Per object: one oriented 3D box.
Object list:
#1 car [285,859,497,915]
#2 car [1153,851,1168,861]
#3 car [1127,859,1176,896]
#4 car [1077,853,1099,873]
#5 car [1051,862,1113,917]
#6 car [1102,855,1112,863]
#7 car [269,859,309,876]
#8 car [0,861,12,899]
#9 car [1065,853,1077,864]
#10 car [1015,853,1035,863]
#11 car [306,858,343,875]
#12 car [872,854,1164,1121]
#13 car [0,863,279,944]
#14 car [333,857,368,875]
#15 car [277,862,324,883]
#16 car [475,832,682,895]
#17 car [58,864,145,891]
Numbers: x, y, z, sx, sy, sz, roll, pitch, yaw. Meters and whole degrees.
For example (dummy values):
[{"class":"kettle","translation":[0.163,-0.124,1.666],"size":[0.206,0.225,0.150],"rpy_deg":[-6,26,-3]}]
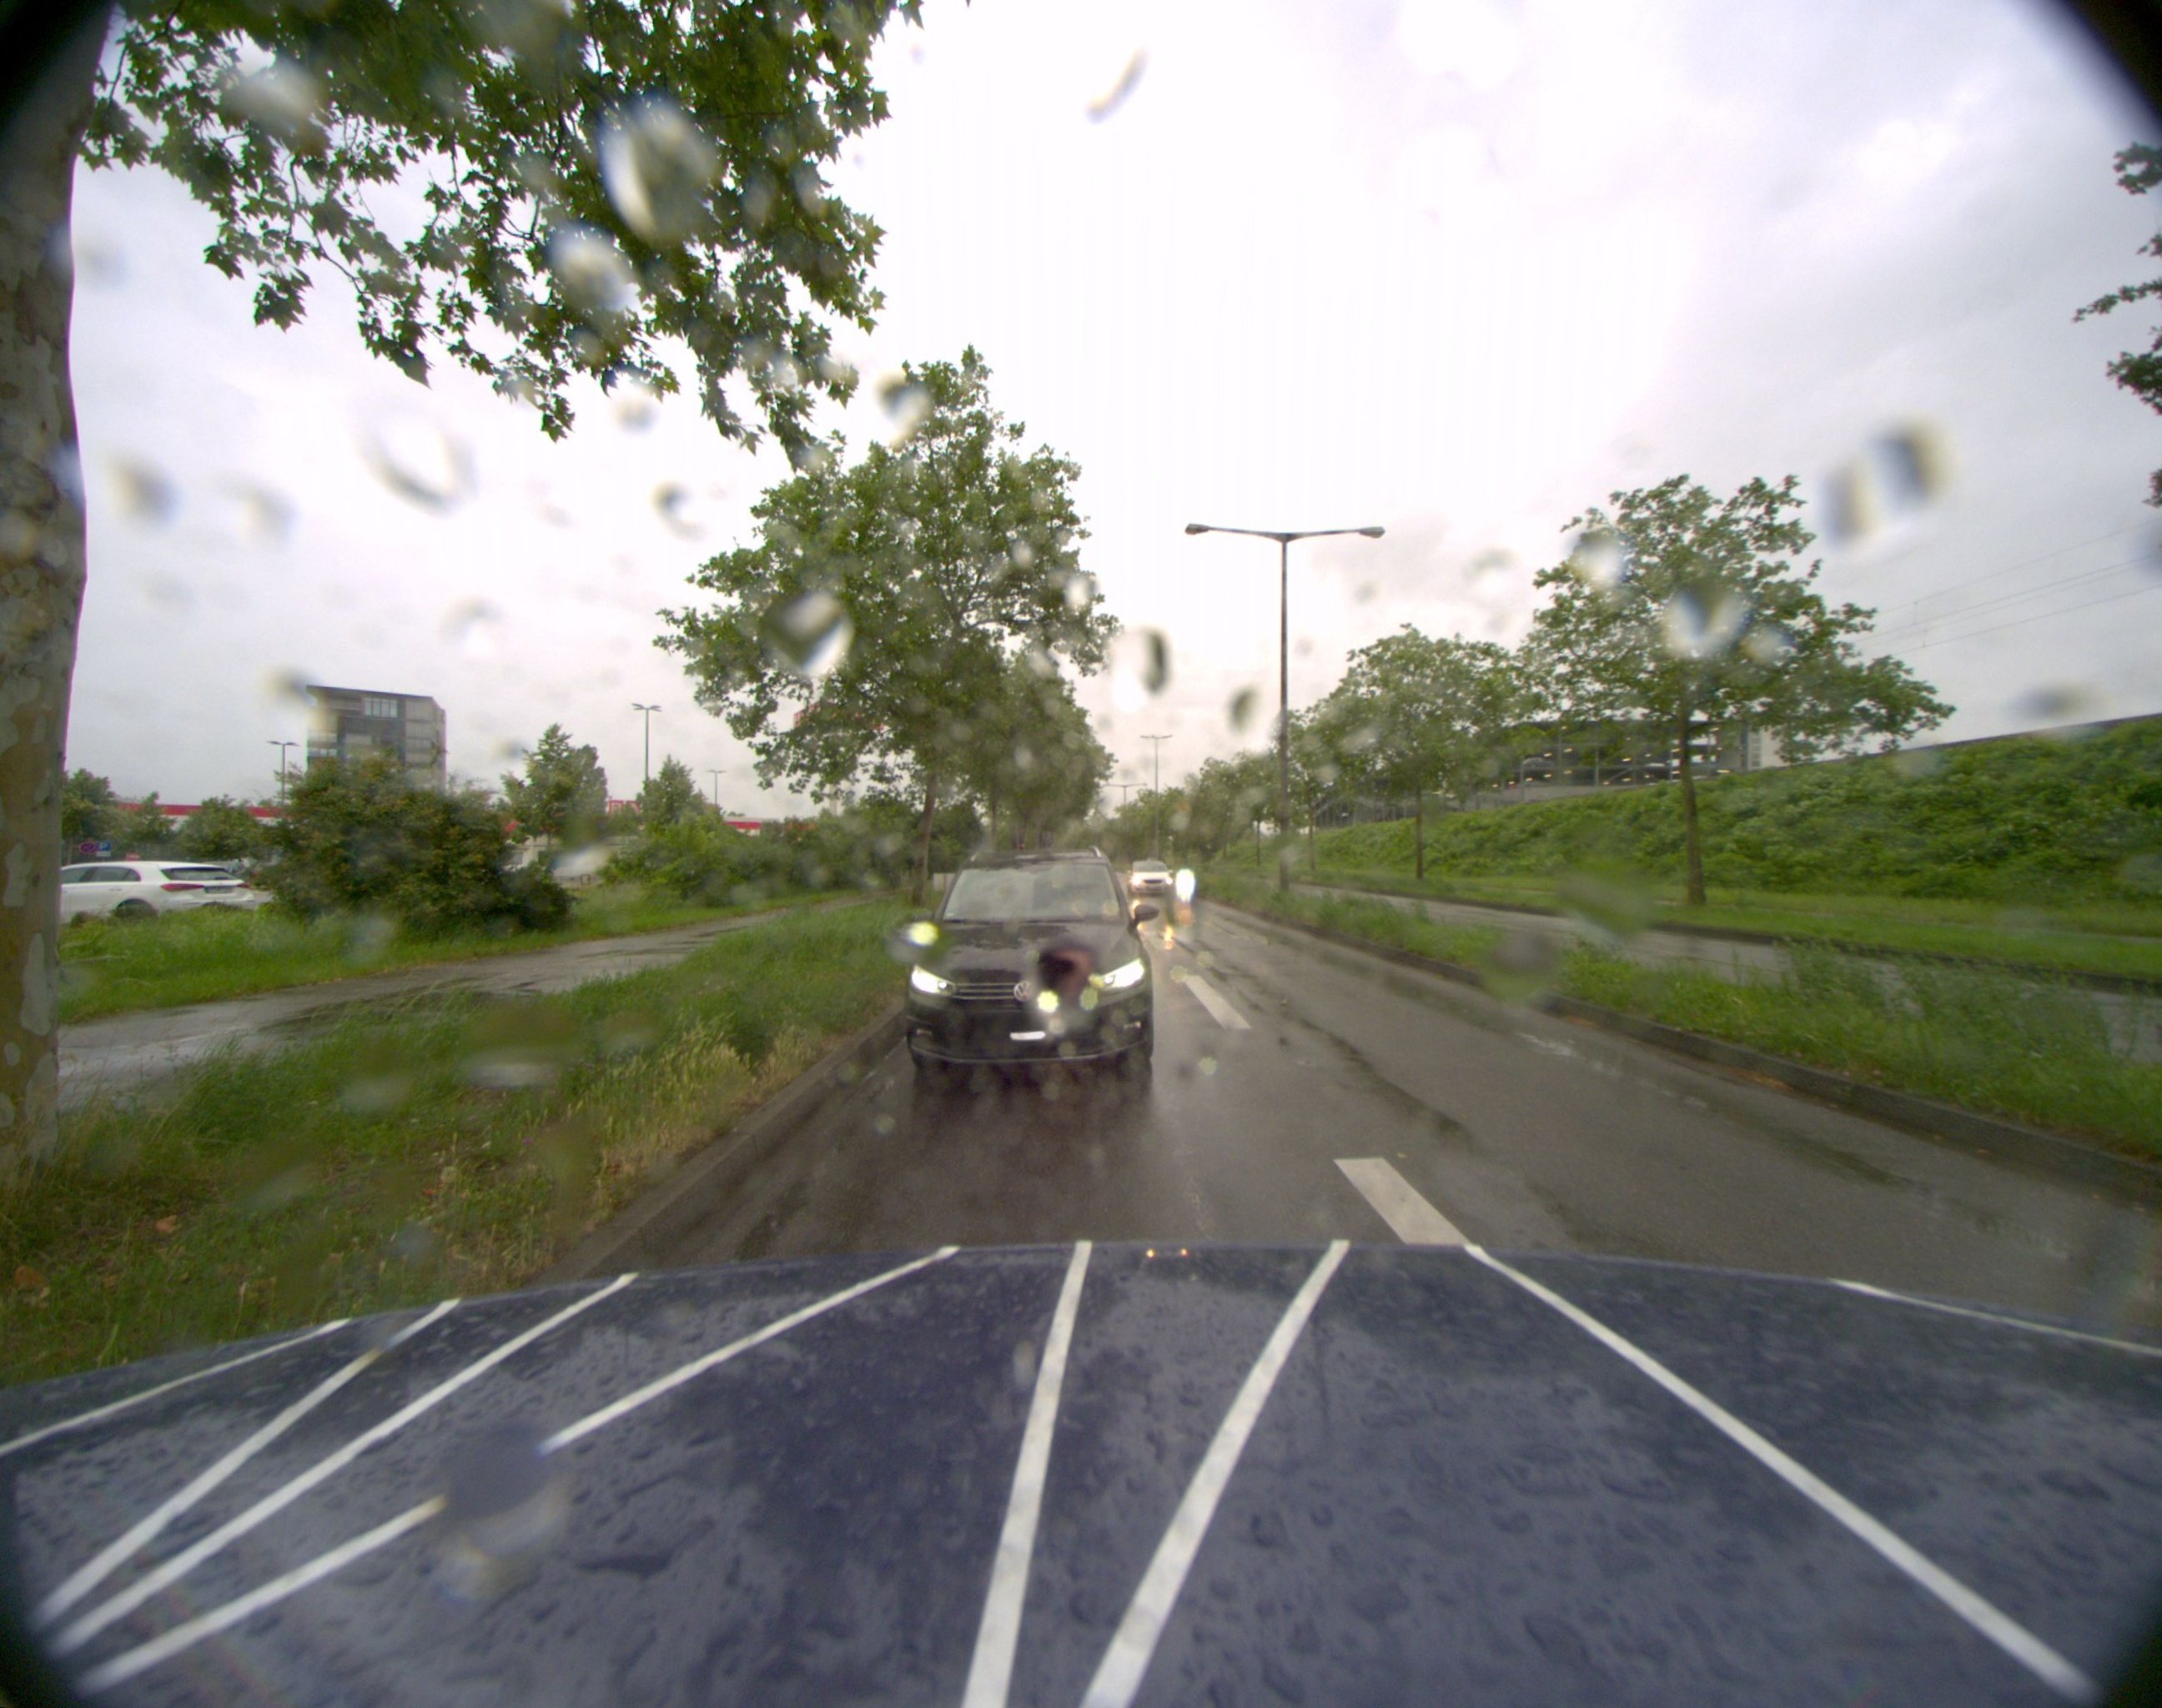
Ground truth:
[{"class":"car","translation":[-19.945,0.923,22.136],"size":[4.272,1.543,1.929],"rpy_deg":[0,0,-4]},{"class":"car","translation":[11.209,0.247,107.694],"size":[1.724,1.456,4.092],"rpy_deg":[0,0,0]},{"class":"car","translation":[2.920,0.941,32.037],"size":[1.683,1.368,4.011],"rpy_deg":[-2,0,1]},{"class":"car","translation":[0.581,0.722,61.288],"size":[1.724,1.456,4.092],"rpy_deg":[-2,0,1]},{"class":"car","translation":[0.028,1.012,23.547],"size":[1.724,1.456,4.092],"rpy_deg":[-2,0,0]},{"class":"car","translation":[4.865,0.867,144.371],"size":[1.724,1.456,4.092],"rpy_deg":[0,0,0]},{"class":"car","translation":[-80.583,1.330,77.335],"size":[2.006,1.667,4.262],"rpy_deg":[0,0,-35]},{"class":"car","translation":[-50.443,1.250,33.292],"size":[3.787,1.708,1.687],"rpy_deg":[-3,1,-37]},{"class":"car","translation":[-1.662,0.743,127.794],"size":[1.831,1.737,4.147],"rpy_deg":[-2,0,0]},{"class":"car","translation":[-11.666,0.845,157.699],"size":[2.003,2.002,5.120],"rpy_deg":[-3,1,-30]},{"class":"car","translation":[-78.472,1.231,78.866],"size":[2.006,1.667,4.262],"rpy_deg":[0,0,-35]},{"class":"car","translation":[-0.435,0.835,7.076],"size":[1.771,1.596,4.626],"rpy_deg":[-2,0,-1]},{"class":"car","translation":[-19.792,0.965,15.666],"size":[4.272,1.543,1.929],"rpy_deg":[0,0,-4]},{"class":"car","translation":[-67.657,1.084,70.438],"size":[2.007,1.667,4.261],"rpy_deg":[0,0,-39]},{"class":"car","translation":[-67.286,1.597,65.606],"size":[2.006,1.667,4.262],"rpy_deg":[0,0,-34]},{"class":"car","translation":[-19.666,0.359,30.086],"size":[6.425,2.349,2.390],"rpy_deg":[0,0,-8]},{"class":"car","translation":[-61.901,1.435,48.111],"size":[1.933,1.543,4.263],"rpy_deg":[0,0,-30]}]
